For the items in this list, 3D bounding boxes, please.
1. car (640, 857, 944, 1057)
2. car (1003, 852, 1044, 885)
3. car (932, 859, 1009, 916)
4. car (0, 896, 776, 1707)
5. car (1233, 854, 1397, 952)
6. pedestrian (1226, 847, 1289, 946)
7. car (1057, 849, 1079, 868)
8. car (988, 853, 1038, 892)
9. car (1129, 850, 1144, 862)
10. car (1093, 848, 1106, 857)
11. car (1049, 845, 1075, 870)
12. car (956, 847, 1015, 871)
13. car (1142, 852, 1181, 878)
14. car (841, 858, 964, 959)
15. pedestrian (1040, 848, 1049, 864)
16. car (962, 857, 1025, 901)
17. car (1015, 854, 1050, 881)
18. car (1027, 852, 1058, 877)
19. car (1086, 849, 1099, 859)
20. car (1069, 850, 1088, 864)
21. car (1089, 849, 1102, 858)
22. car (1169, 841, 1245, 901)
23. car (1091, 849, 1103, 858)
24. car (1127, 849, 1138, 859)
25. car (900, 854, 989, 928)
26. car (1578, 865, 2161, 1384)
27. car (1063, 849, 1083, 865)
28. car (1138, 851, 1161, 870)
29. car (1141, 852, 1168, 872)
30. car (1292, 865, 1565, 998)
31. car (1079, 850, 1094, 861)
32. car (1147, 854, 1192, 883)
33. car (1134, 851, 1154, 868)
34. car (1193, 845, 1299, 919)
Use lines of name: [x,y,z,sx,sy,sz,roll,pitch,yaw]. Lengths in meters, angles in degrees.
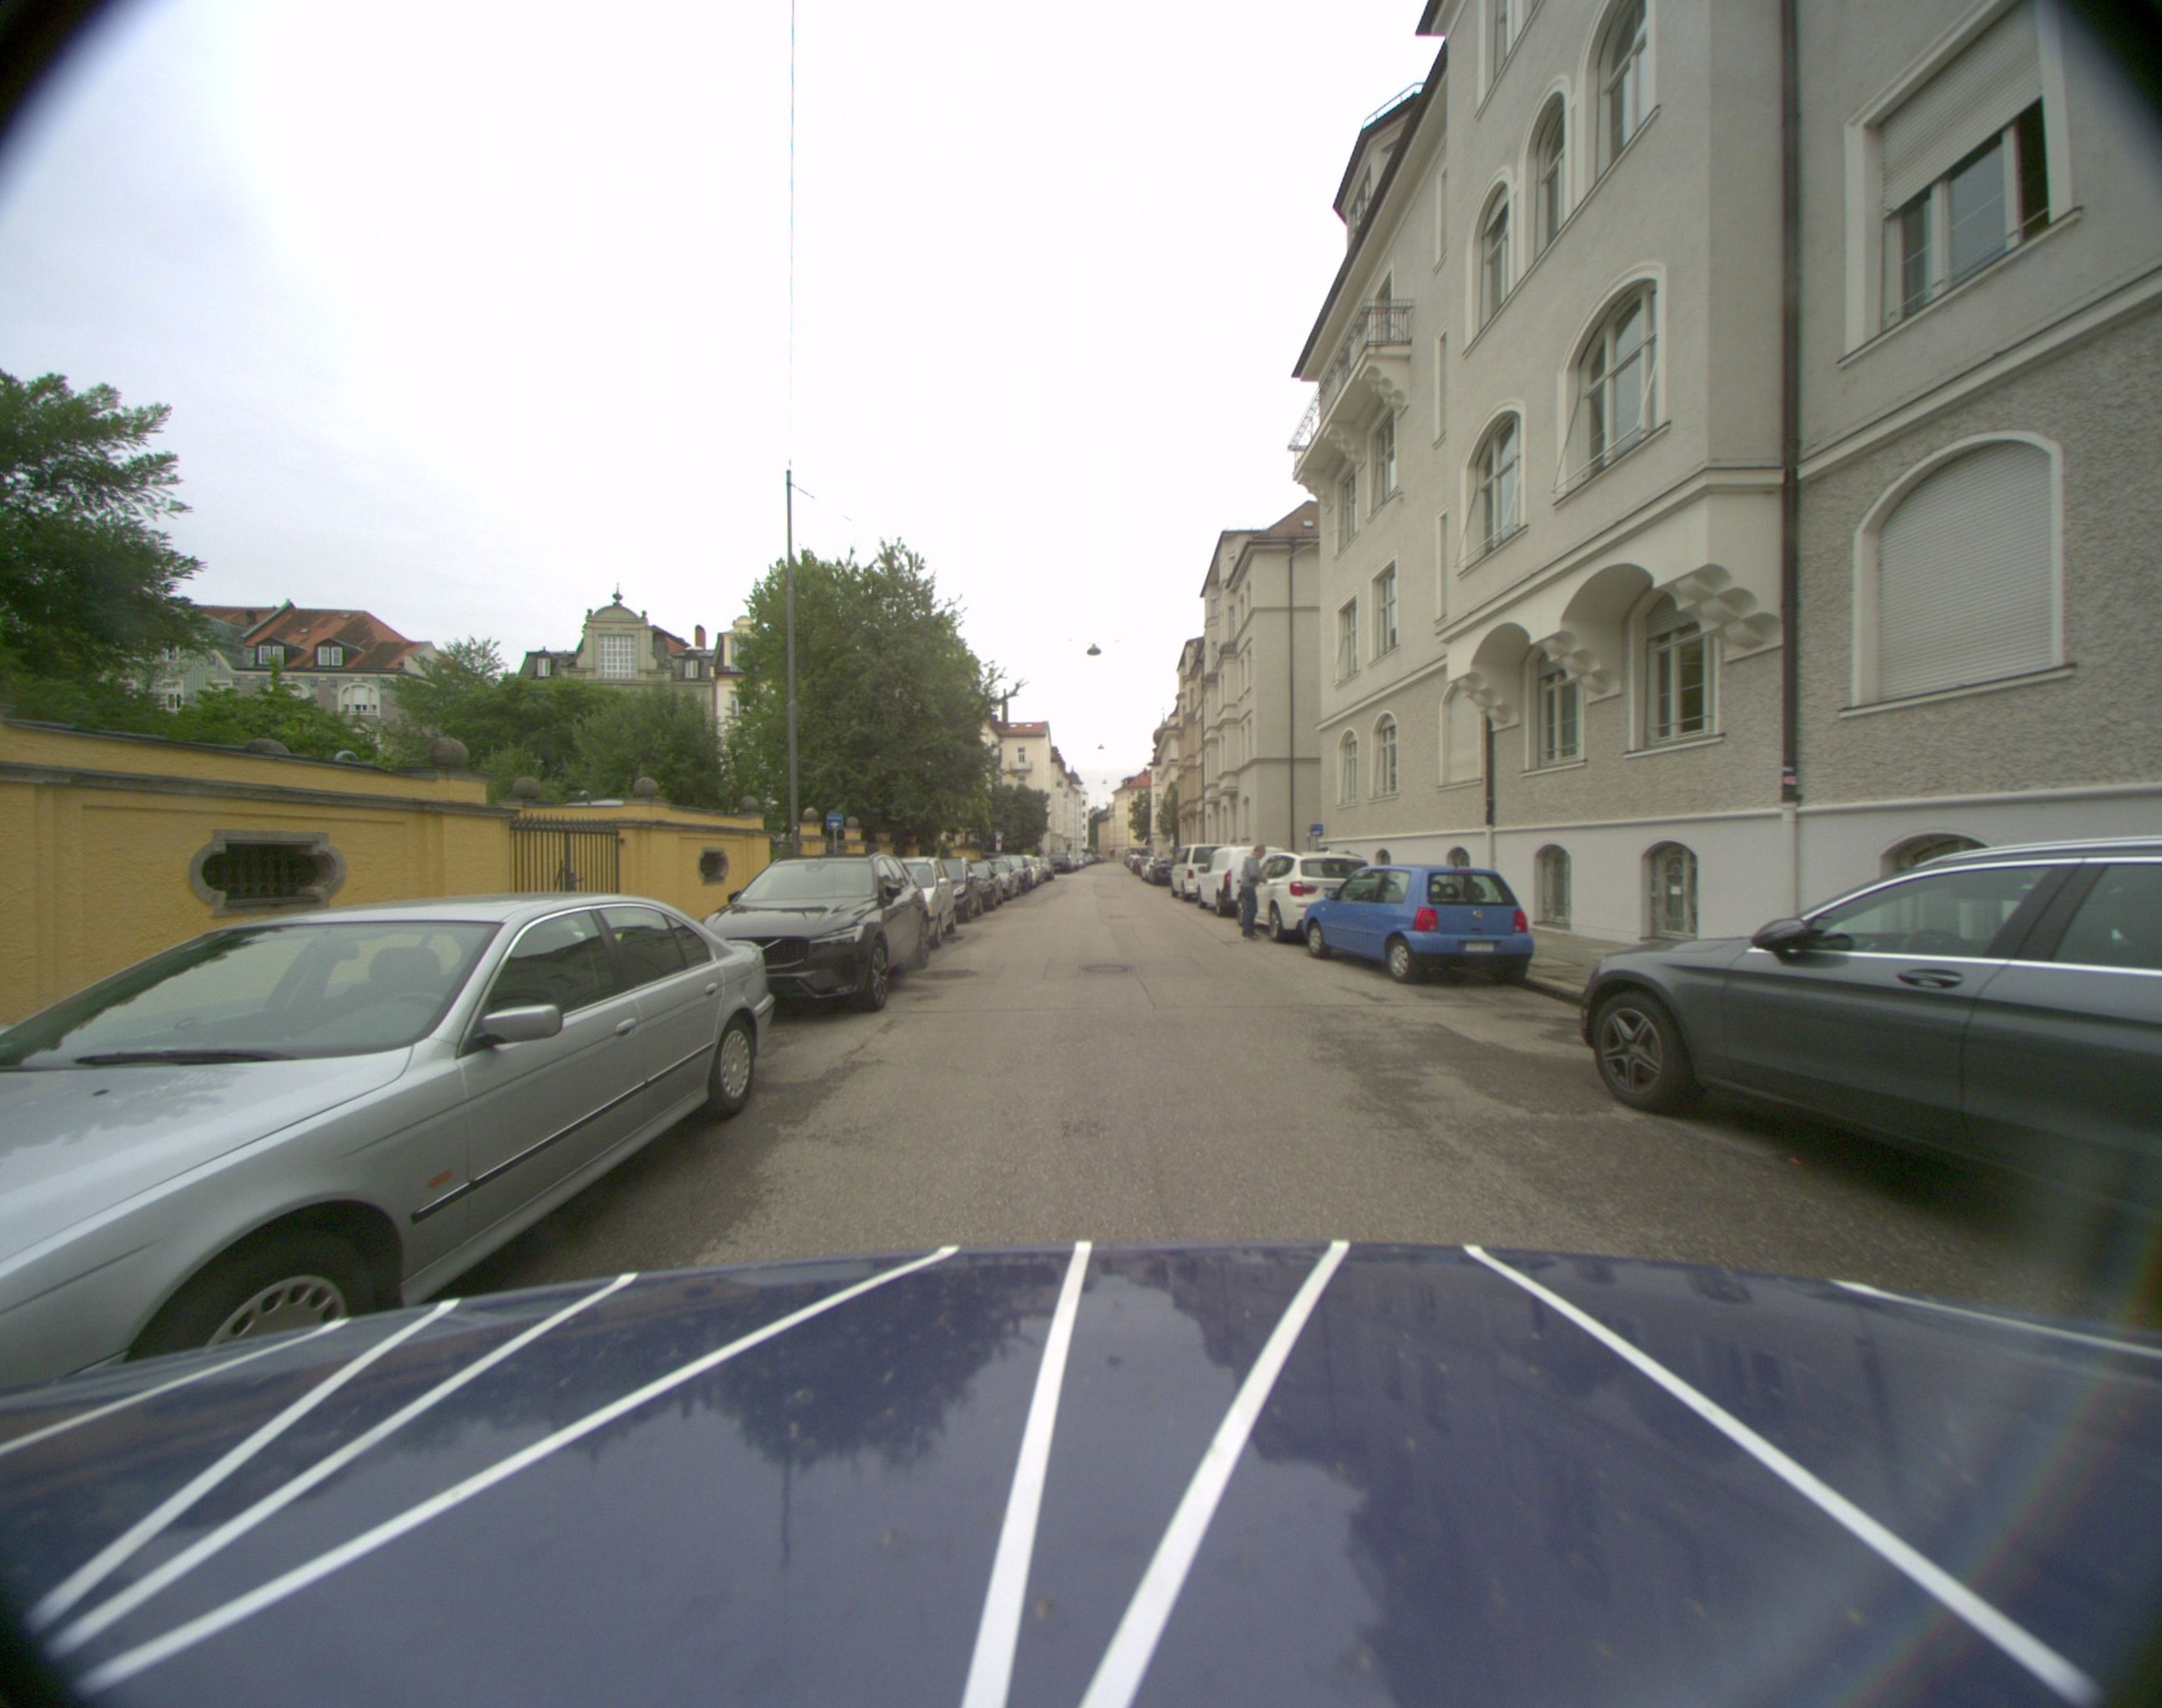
car: [-2.999,0.924,9.176,1.889,1.643,4.822,-2,0,-2]
car: [-2.853,0.700,38.612,1.717,1.561,4.319,0,0,0]
car: [-3.172,0.910,22.488,1.696,1.406,4.035,-3,1,-1]
car: [-3.004,1.065,3.080,1.889,1.440,4.367,-2,0,-3]
car: [4.364,0.824,14.946,1.751,1.593,4.495,1,1,-1]
pedestrian: [3.218,0.750,13.955,0.963,1.745,0.877,-1,1,2]
car: [-1.299,0.451,76.257,1.998,1.643,4.448,-4,0,0]
car: [-2.924,0.751,33.506,1.717,1.561,4.691,0,0,0]
car: [7.022,0.228,96.395,1.627,1.522,3.689,1,1,2]
car: [3.772,-0.318,153.917,1.997,1.585,4.301,-4,0,7]
car: [-1.609,0.296,66.074,1.998,1.949,4.433,-4,0,0]
car: [-7.715,0.399,61.671,4.678,1.860,1.742,0,-2,-4]
car: [4.790,0.605,45.638,1.860,1.455,4.378,1,0,0]
car: [-3.149,0.883,14.056,1.488,1.530,3.691,-2,0,-3]
pedestrian: [-3.947,0.185,82.019,0.876,1.680,1.052,-1,1,1]
car: [-3.065,0.831,27.474,1.696,1.406,4.515,0,0,1]
car: [-2.721,0.746,43.524,1.717,1.445,4.183,0,0,0]
car: [-2.388,0.614,48.265,1.717,1.445,4.955,0,0,0]
car: [2.117,-0.023,138.530,1.998,1.585,4.300,-4,0,4]
car: [-0.262,0.359,93.400,1.998,1.585,4.300,-4,0,4]
car: [2.775,-0.100,143.642,1.998,1.672,4.300,-4,0,5]
car: [4.362,0.527,27.055,1.861,1.927,4.956,1,1,0]
car: [3.215,-0.138,149.064,1.998,1.585,4.429,-4,0,5]
car: [8.292,0.029,122.988,1.627,1.522,3.920,1,1,2]
car: [-3.237,0.835,18.486,1.511,1.557,2.869,-2,1,1]
car: [4.323,0.902,2.954,1.751,1.593,4.495,1,1,-1]
car: [-0.839,0.342,81.201,1.998,1.585,4.299,-4,0,1]
car: [5.435,0.482,60.831,1.626,1.448,3.941,1,1,3]
car: [5.375,0.549,55.904,1.809,1.355,3.730,1,1,3]
car: [4.459,0.902,10.410,1.697,1.406,3.660,1,1,-8]
car: [0.936,0.209,118.233,1.998,1.585,4.300,-4,0,4]
car: [4.673,0.715,40.582,1.860,1.404,4.378,1,0,0]
car: [5.496,0.453,66.487,1.626,1.421,3.942,1,1,4]
car: [4.364,0.663,20.896,1.751,1.778,5.036,1,0,0]
